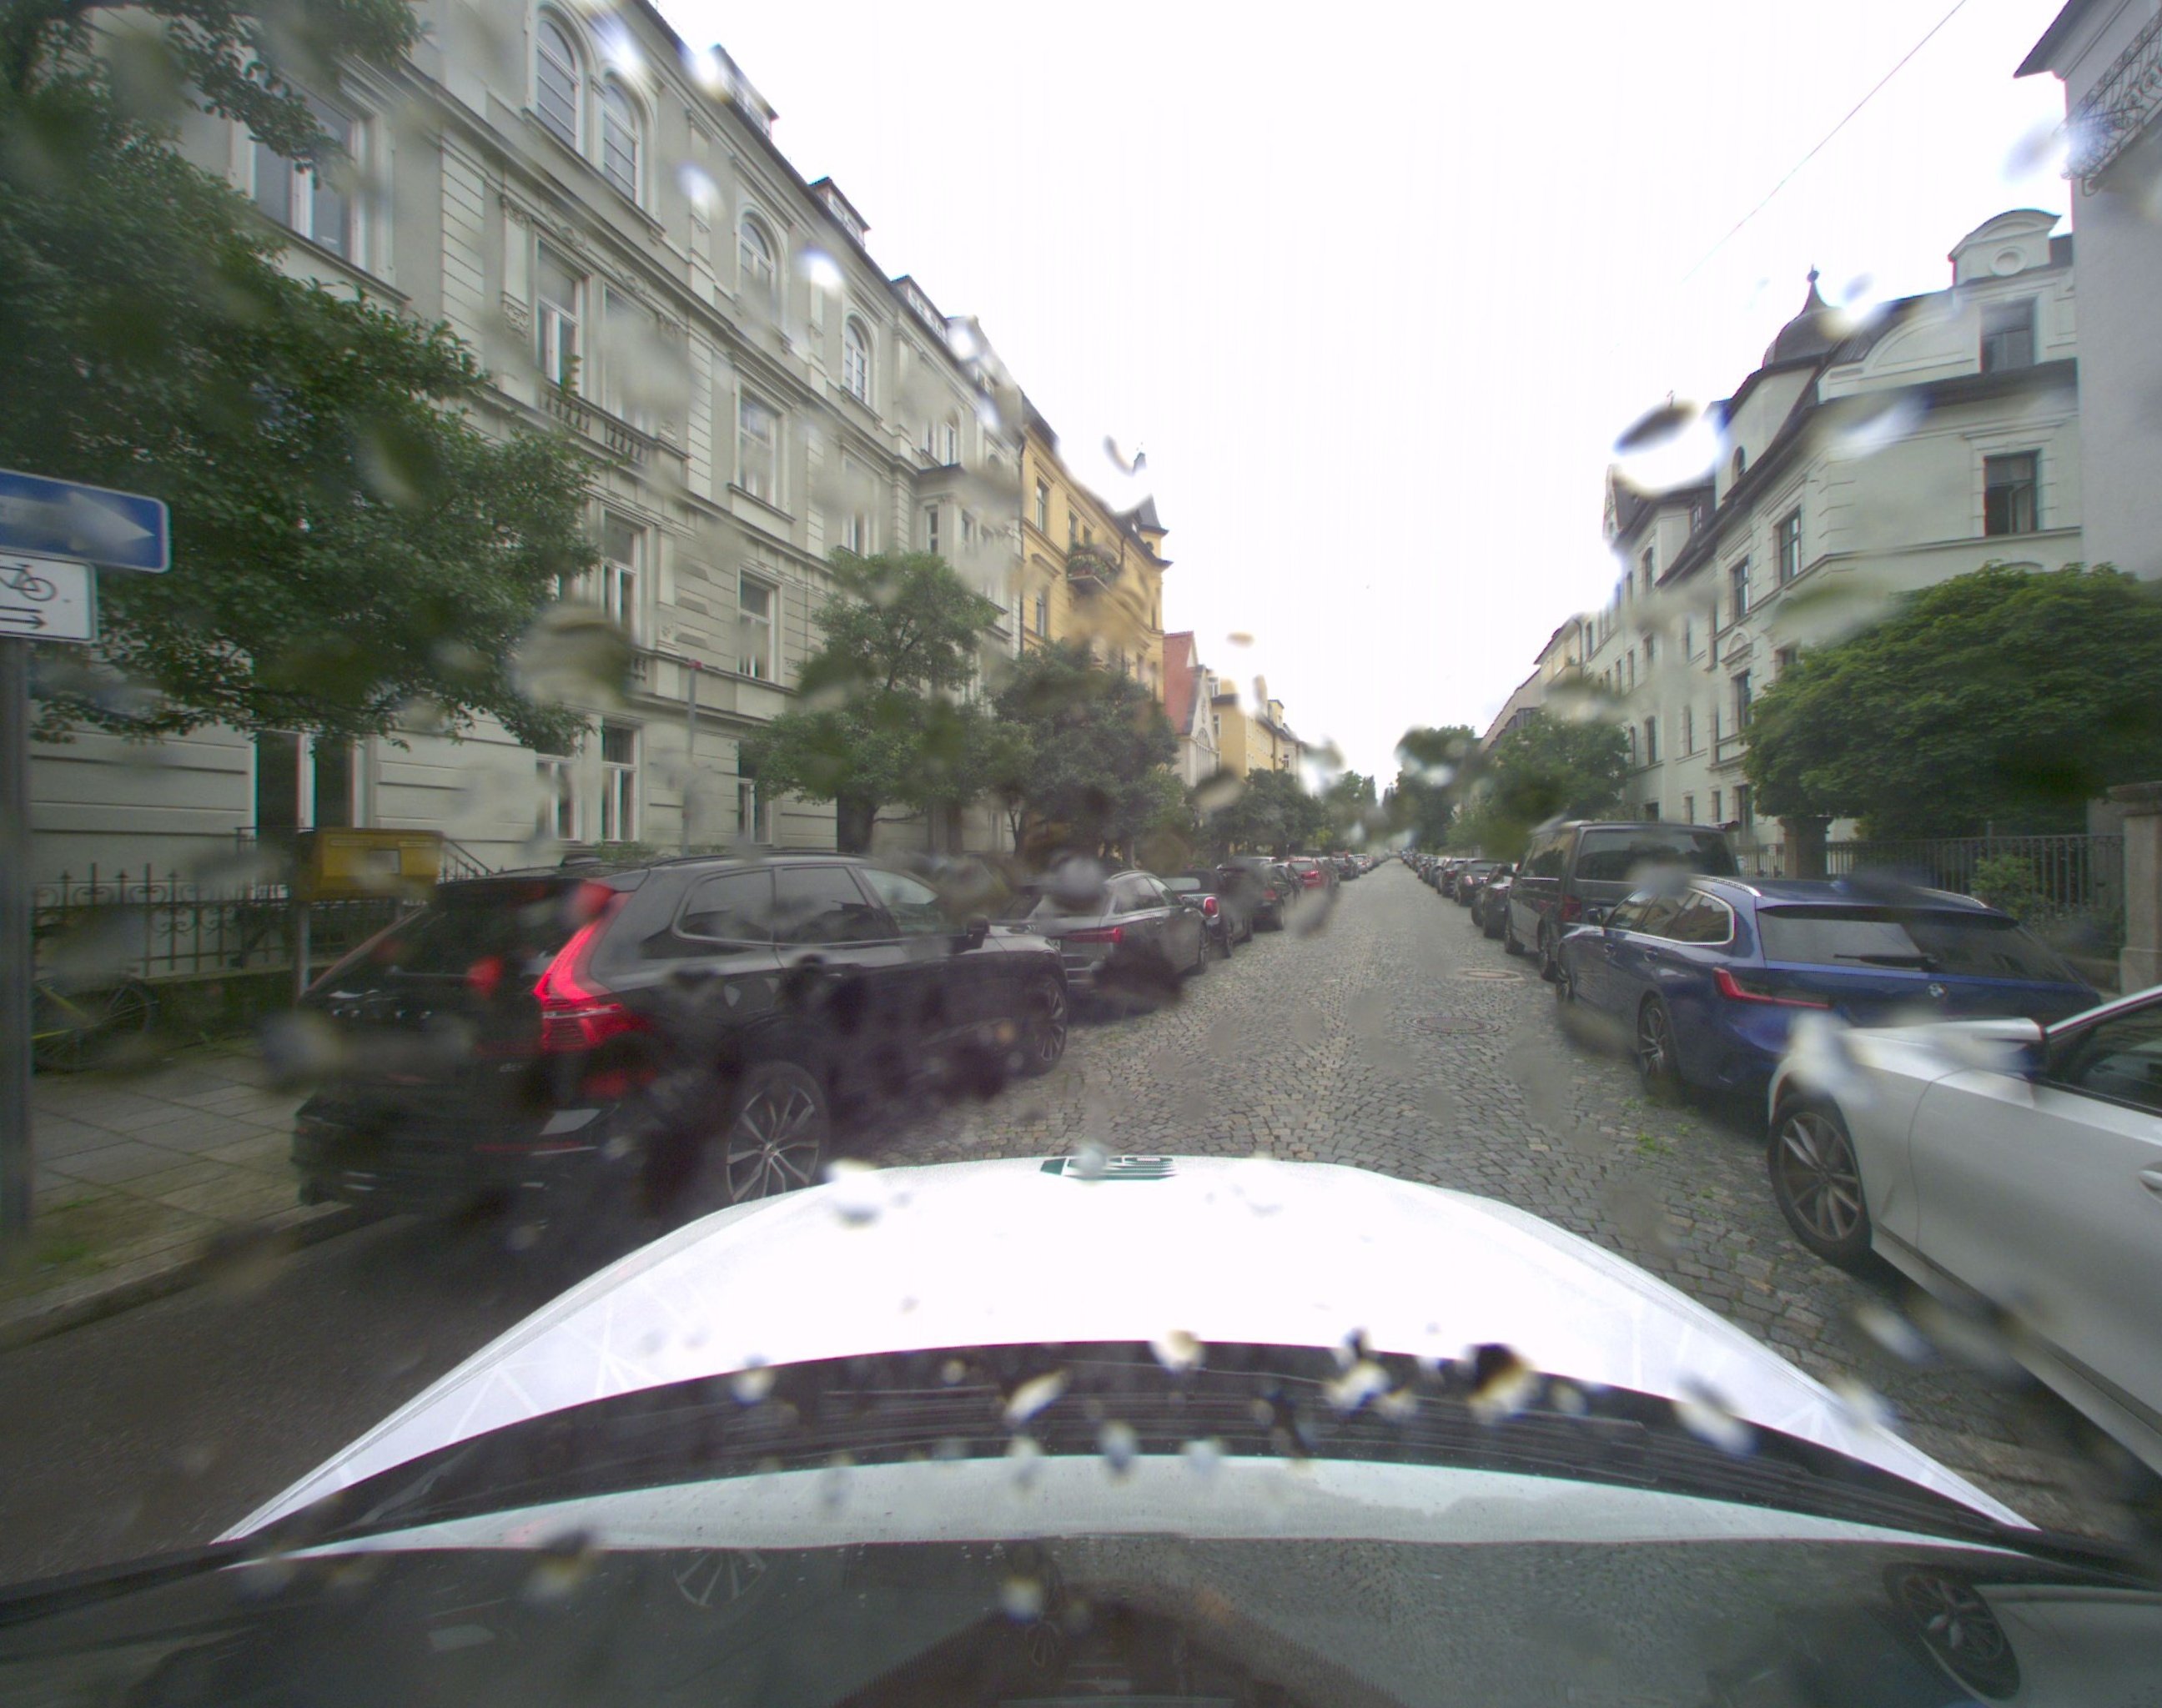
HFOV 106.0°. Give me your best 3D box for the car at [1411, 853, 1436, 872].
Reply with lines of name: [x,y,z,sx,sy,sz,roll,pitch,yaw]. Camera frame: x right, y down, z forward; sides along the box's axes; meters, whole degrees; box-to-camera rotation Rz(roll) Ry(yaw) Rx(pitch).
car: [31.726,0.810,75.467,1.905,1.635,3.758,-4,-2,20]

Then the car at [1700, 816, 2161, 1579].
car: [3.126,0.720,1.431,1.891,1.531,4.947,2,1,21]

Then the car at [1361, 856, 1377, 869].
car: [37.978,1.128,107.382,1.905,1.635,3.758,-4,-2,20]

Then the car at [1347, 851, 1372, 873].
car: [24.547,0.715,71.658,1.905,1.839,3.758,-4,-2,20]

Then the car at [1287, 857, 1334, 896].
car: [9.402,0.911,33.226,1.419,1.460,2.665,-4,-2,22]

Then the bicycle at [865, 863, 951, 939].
bicycle: [-3.039,0.786,14.546,0.496,1.248,1.989,1,0,20]

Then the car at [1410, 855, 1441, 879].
car: [23.167,0.890,54.819,1.646,1.465,3.465,-4,-2,20]

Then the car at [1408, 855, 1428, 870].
car: [40.676,1.003,98.372,1.905,1.635,3.758,-4,-2,20]

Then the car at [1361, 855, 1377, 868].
car: [40.123,1.019,113.268,1.905,1.635,3.758,-4,-2,20]

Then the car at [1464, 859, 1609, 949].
car: [8.905,0.860,16.322,1.905,1.434,4.826,2,0,22]

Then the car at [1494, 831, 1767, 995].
car: [6.994,0.602,11.023,2.004,1.690,4.875,0,0,21]

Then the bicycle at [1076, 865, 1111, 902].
bicycle: [0.391,0.838,23.808,0.414,1.027,1.774,1,0,21]

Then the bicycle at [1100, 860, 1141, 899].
bicycle: [1.244,0.779,25.460,0.414,1.143,1.776,0,0,33]

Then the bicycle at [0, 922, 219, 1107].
bicycle: [-6.838,1.023,5.065,0.550,1.028,1.940,1,0,26]

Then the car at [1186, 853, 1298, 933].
car: [3.813,0.831,18.723,1.712,1.540,4.358,-4,-2,21]

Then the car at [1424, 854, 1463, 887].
car: [18.046,0.791,40.509,1.582,1.503,3.280,-5,-2,25]

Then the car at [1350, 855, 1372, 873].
car: [28.894,1.033,83.953,1.905,1.635,3.758,-4,-2,20]

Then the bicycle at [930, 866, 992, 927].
bicycle: [-2.401,0.831,16.505,0.360,1.133,1.897,1,0,20]

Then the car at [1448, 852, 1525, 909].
car: [12.882,0.790,26.096,1.905,1.635,4.068,1,0,22]

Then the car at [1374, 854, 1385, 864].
car: [56.921,0.968,155.379,1.905,1.635,3.758,-4,-2,20]

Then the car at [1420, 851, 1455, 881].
car: [21.802,0.736,49.919,1.646,1.635,3.465,-4,-2,20]

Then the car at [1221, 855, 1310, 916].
car: [5.505,0.897,23.963,1.905,1.546,4.020,-4,-2,21]

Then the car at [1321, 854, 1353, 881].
car: [16.476,0.868,52.367,1.906,1.635,3.756,-1,-1,18]

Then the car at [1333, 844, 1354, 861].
car: [29.074,-0.131,90.039,1.905,1.635,3.758,-4,-2,20]

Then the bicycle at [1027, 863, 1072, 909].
bicycle: [-0.790,0.796,20.941,0.368,1.102,1.844,0,0,25]

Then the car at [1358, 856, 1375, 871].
car: [35.986,1.195,102.589,1.905,1.635,3.758,-4,-2,20]

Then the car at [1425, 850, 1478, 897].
car: [13.656,0.709,30.191,1.646,1.635,3.558,-1,-1,23]

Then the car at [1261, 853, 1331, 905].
car: [7.734,0.875,29.022,1.905,1.635,3.825,-4,-2,21]

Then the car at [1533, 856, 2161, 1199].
car: [4.968,0.804,6.222,1.913,1.506,4.899,1,0,20]

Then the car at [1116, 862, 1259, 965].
car: [2.008,0.954,14.364,1.689,1.516,3.745,-3,-1,19]

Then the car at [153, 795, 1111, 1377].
car: [-1.595,0.746,5.033,1.921,1.652,5.079,-4,-2,21]

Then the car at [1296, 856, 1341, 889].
car: [11.522,0.876,39.405,1.646,1.534,3.503,-1,-1,23]

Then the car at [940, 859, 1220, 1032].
car: [0.363,0.869,9.978,1.790,1.505,5.202,-3,-1,18]

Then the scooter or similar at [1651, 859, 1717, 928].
scooter or similar: [12.250,0.782,16.529,1.611,1.333,0.622,0,-3,-39]
